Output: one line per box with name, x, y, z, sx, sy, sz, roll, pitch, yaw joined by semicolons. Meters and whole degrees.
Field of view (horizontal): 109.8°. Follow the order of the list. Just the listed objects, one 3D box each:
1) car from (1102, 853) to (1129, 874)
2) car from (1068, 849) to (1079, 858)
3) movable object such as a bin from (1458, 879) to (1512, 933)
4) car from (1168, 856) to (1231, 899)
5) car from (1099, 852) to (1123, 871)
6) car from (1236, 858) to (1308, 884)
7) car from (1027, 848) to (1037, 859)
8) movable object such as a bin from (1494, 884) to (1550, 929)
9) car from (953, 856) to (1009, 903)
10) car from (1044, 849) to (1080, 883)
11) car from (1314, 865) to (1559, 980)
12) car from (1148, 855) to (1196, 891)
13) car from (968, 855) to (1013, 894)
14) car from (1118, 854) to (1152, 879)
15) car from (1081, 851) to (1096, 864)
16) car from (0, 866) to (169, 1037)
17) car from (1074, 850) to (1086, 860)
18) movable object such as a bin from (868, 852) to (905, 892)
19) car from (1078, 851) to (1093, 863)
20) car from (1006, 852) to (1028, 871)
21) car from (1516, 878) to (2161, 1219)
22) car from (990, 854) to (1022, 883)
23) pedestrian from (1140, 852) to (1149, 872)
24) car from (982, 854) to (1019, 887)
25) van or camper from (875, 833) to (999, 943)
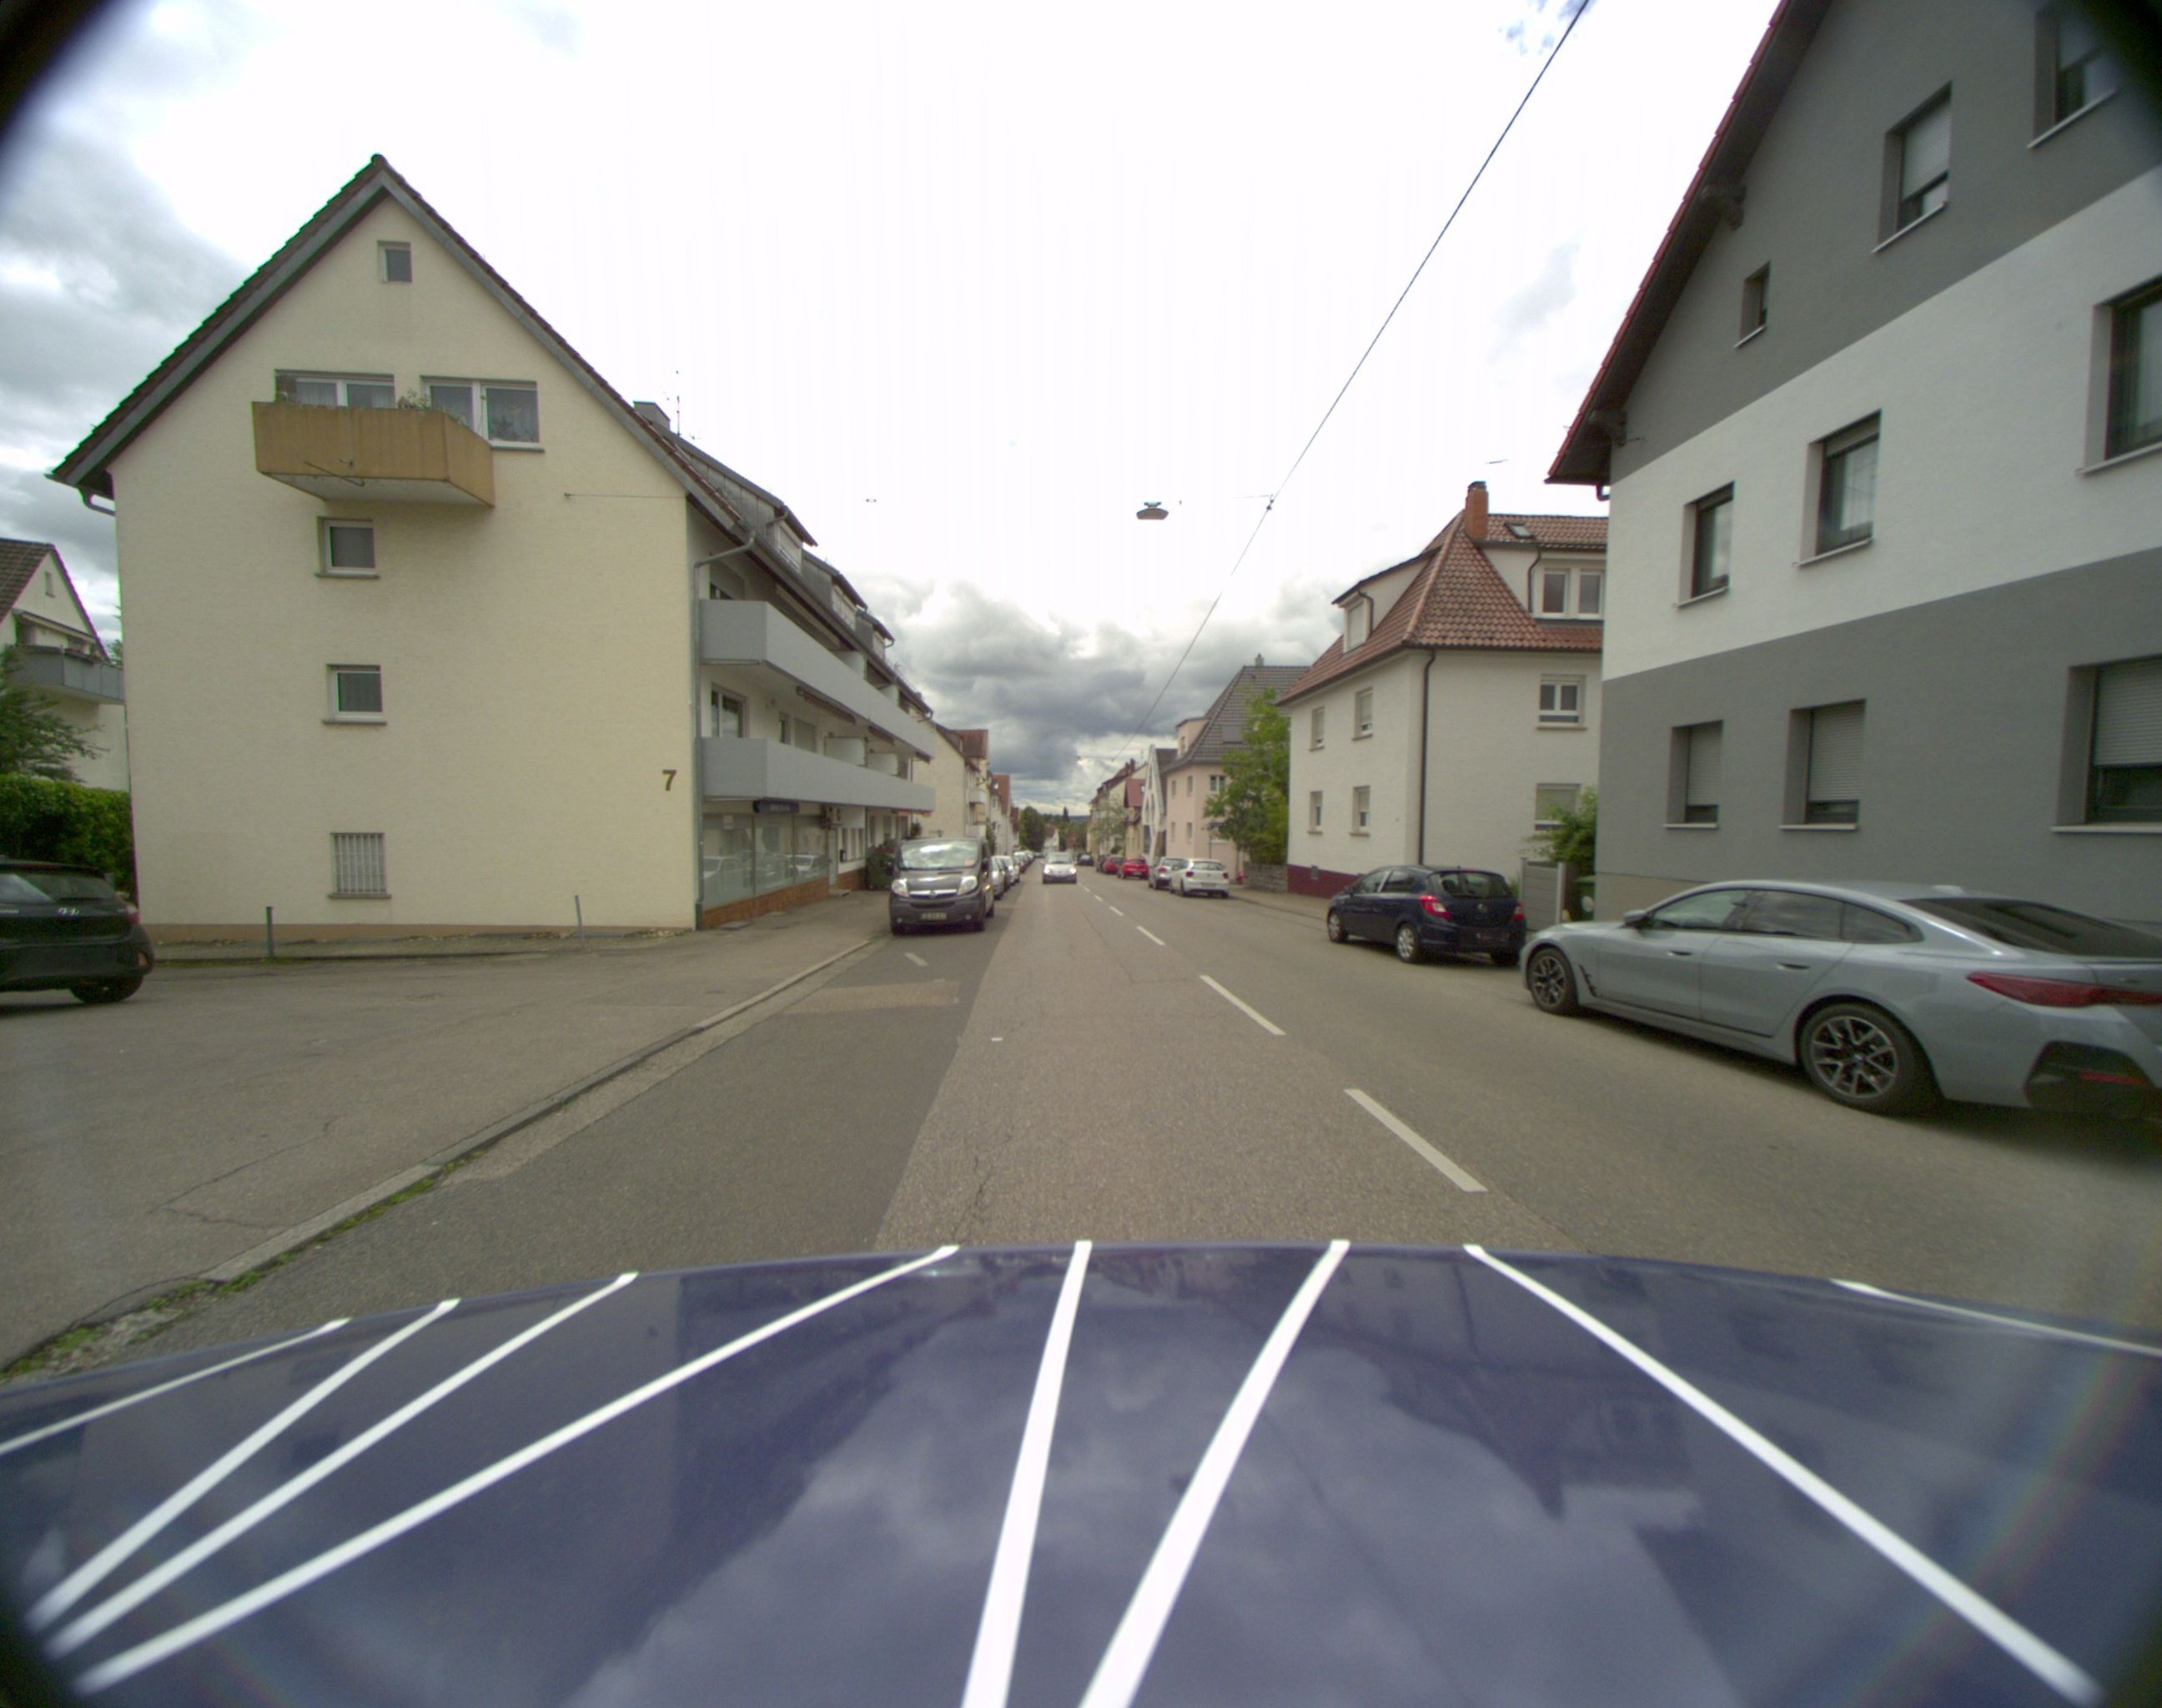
car;2.752;0.714;61.061;1.706;1.524;3.734;3;1;-3
car;-1.456;-0.093;144.790;1.706;1.524;3.734;3;1;-3
movable object such as a bin;8.341;1.066;15.713;0.679;1.039;0.758;-2;1;-3
car;4.462;0.858;29.121;1.654;1.438;3.810;1;1;-3
car;2.595;0.626;66.140;1.706;1.524;3.734;3;1;-3
car;10.875;0.967;43.398;3.732;1.402;1.707;-1;1;2
car;-8.272;-0.169;128.666;1.613;1.789;3.857;-2;1;-3
movable object such as a bin;9.171;1.083;15.835;0.679;0.886;0.759;-2;-2;-3
car;-3.470;0.836;26.973;1.613;1.447;4.332;-2;1;-3
car;-0.946;0.591;39.636;1.721;1.587;3.999;-2;1;0
car;5.530;0.984;12.483;1.843;1.437;3.997;2;0;-5
car;4.035;0.823;34.090;1.654;1.438;3.773;1;1;0
car;-3.768;0.811;32.170;1.613;1.447;3.857;-2;1;-3
car;3.508;0.787;49.867;1.706;1.402;3.734;3;1;-3
car;0.950;0.423;98.281;1.706;1.524;3.734;3;1;-3
car;-11.209;0.926;7.004;3.323;1.478;1.725;-2;1;-3
car;-0.127;0.144;123.788;1.706;1.524;3.734;3;1;-3
movable object such as a bin;-7.378;0.677;28.894;1.083;1.428;1.259;-2;1;-3
car;0.576;0.363;103.966;1.706;1.524;3.734;3;1;-3
car;-5.111;0.587;61.208;1.613;1.447;3.857;-2;1;-3
car;5.666;1.024;5.871;1.842;1.437;4.466;2;0;-3
car;-4.075;0.769;41.854;1.585;1.397;3.596;-2;1;-3
pedestrian;4.959;0.633;59.133;0.583;1.524;0.600;-2;1;-3
car;-3.937;0.782;37.662;1.613;1.447;3.312;-2;1;-3
van or camper;-2.985;0.619;16.866;1.999;2.002;5.062;-2;1;-4
